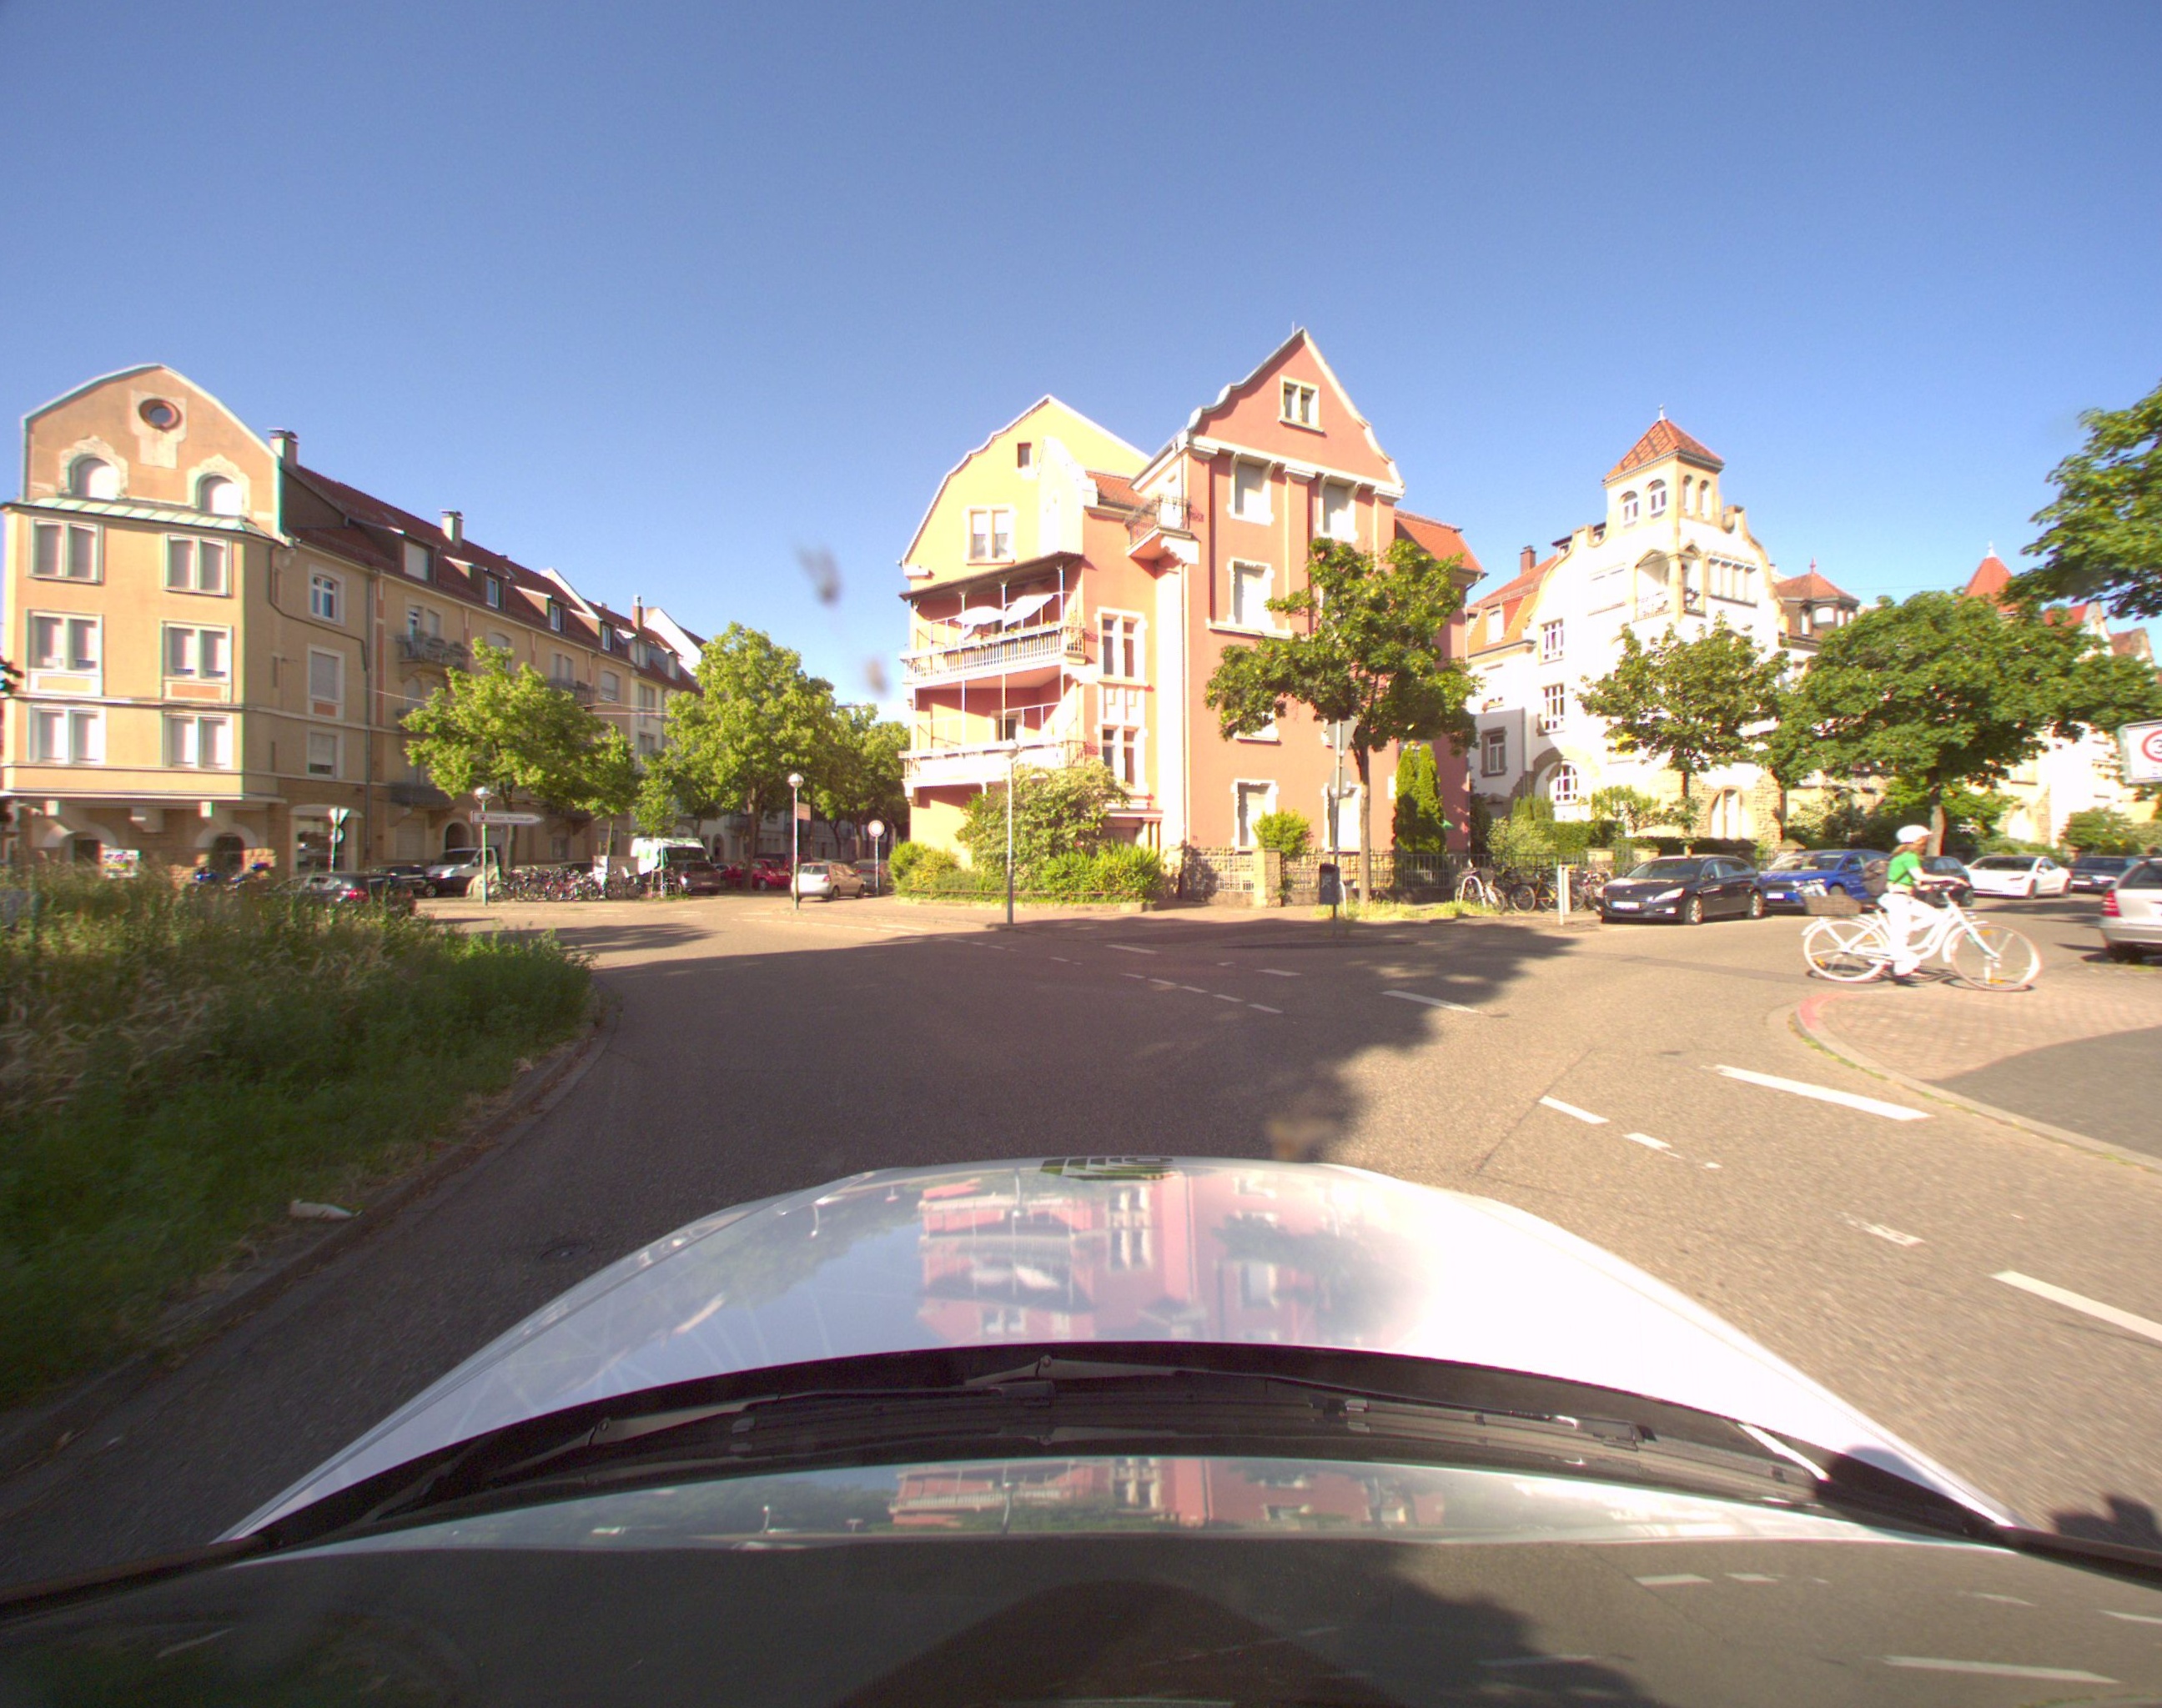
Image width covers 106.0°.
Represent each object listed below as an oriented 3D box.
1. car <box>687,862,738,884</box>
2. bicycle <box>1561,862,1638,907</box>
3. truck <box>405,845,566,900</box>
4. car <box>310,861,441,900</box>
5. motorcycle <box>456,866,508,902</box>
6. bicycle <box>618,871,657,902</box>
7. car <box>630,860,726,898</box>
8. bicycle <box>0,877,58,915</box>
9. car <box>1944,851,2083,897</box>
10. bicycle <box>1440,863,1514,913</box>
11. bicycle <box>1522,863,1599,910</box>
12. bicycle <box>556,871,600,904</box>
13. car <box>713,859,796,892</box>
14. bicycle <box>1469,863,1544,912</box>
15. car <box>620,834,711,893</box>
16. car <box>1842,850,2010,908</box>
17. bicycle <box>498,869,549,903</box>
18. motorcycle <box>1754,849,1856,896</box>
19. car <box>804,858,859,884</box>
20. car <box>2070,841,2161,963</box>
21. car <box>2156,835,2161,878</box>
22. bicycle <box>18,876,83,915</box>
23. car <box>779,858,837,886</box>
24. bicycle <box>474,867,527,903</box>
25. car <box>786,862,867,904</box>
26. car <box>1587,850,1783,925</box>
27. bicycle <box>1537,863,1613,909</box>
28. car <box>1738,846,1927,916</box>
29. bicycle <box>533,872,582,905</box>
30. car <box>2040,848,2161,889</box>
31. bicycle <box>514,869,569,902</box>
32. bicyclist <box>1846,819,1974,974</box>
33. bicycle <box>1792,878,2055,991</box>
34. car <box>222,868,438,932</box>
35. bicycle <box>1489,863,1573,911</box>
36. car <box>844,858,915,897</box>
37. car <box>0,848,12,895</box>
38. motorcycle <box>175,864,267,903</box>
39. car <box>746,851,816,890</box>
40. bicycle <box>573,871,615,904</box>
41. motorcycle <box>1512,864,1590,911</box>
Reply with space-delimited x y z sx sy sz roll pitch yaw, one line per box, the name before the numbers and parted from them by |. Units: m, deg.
car | -25.593 1.280 56.686 1.676 1.390 3.924 -2 0 2
bicycle | 13.918 0.806 21.908 0.517 1.107 1.712 0 1 -26
truck | -27.576 0.805 38.128 2.121 2.292 6.632 -2 0 6
car | -27.882 1.006 32.373 1.676 1.390 3.924 -2 0 2
motorcycle | -22.223 1.110 30.216 1.695 1.270 0.540 1 0 10
bicycle | -16.568 1.216 30.468 0.415 1.086 1.530 1 0 9
car | -16.712 0.992 33.734 3.872 1.446 1.698 1 0 30
bicycle | -32.767 1.284 25.306 0.484 1.123 1.683 -1 0 -25
car | 31.485 0.668 27.490 4.404 1.397 1.795 -1 -3 -24
bicycle | 9.706 0.799 20.033 0.546 1.115 1.714 0 1 -22
bicycle | 12.456 0.832 21.218 0.502 1.107 1.711 -1 1 -29
bicycle | -17.957 1.182 29.114 0.415 1.089 1.577 1 0 9
car | -15.526 0.990 38.780 3.345 1.446 1.696 1 0 19
bicycle | 10.635 0.811 20.397 0.546 1.115 1.714 0 1 -22
car | -19.958 0.415 38.966 2.115 2.600 6.298 1 0 -44
car | 23.601 0.689 22.749 4.404 1.451 1.795 -1 -3 -24
bicycle | -19.880 1.114 29.079 0.584 1.127 1.605 1 0 7
motorcycle | 23.263 0.577 26.218 2.259 1.430 0.960 0 1 11
car | -15.005 0.984 48.932 3.341 1.470 1.698 1 0 43
car | 14.519 0.550 10.254 4.349 1.416 1.794 0 0 -28
car | 51.047 0.065 36.870 4.404 1.930 1.795 -1 -3 -24
bicycle | -32.268 1.278 25.527 0.484 1.123 1.706 -1 0 -22
car | -15.463 1.006 46.020 3.341 1.470 1.698 1 0 43
bicycle | -20.669 1.098 29.048 0.534 1.193 1.683 1 0 7
car | -9.586 1.045 30.932 1.674 1.446 3.551 1 0 5
car | 13.489 0.705 18.156 4.349 1.484 1.793 0 -3 -28
bicycle | 13.003 0.827 21.490 0.502 1.107 1.712 0 1 -26
car | 18.687 0.645 20.249 4.404 1.562 1.795 -1 -3 -24
bicycle | -18.535 1.201 28.873 0.496 1.102 1.654 1 0 8
car | 38.220 0.534 30.470 4.404 1.397 1.795 -1 -3 -24
bicycle | -19.179 1.114 28.982 0.651 1.088 1.733 1 0 7
bicyclist | 8.921 0.449 8.801 0.794 1.581 0.599 -2 -2 32
bicycle | 8.953 0.825 8.770 1.839 1.108 0.599 -2 -2 32
car | -18.935 1.121 20.621 3.963 1.418 1.876 0 3 9
bicycle | 11.391 0.806 20.651 0.503 1.107 1.809 -1 2 -38
car | -8.785 0.977 35.940 1.674 1.562 4.301 1 0 5
car | -44.471 0.724 32.138 4.504 1.909 2.154 -1 -1 45
motorcycle | -32.746 1.129 31.050 2.255 1.411 0.694 2 0 -26
car | -15.194 0.798 41.203 3.340 1.865 1.699 1 0 34
bicycle | -17.481 1.188 29.271 0.415 1.086 1.530 1 0 9
motorcycle | 12.031 0.834 20.891 0.502 1.107 1.711 -1 1 -29
